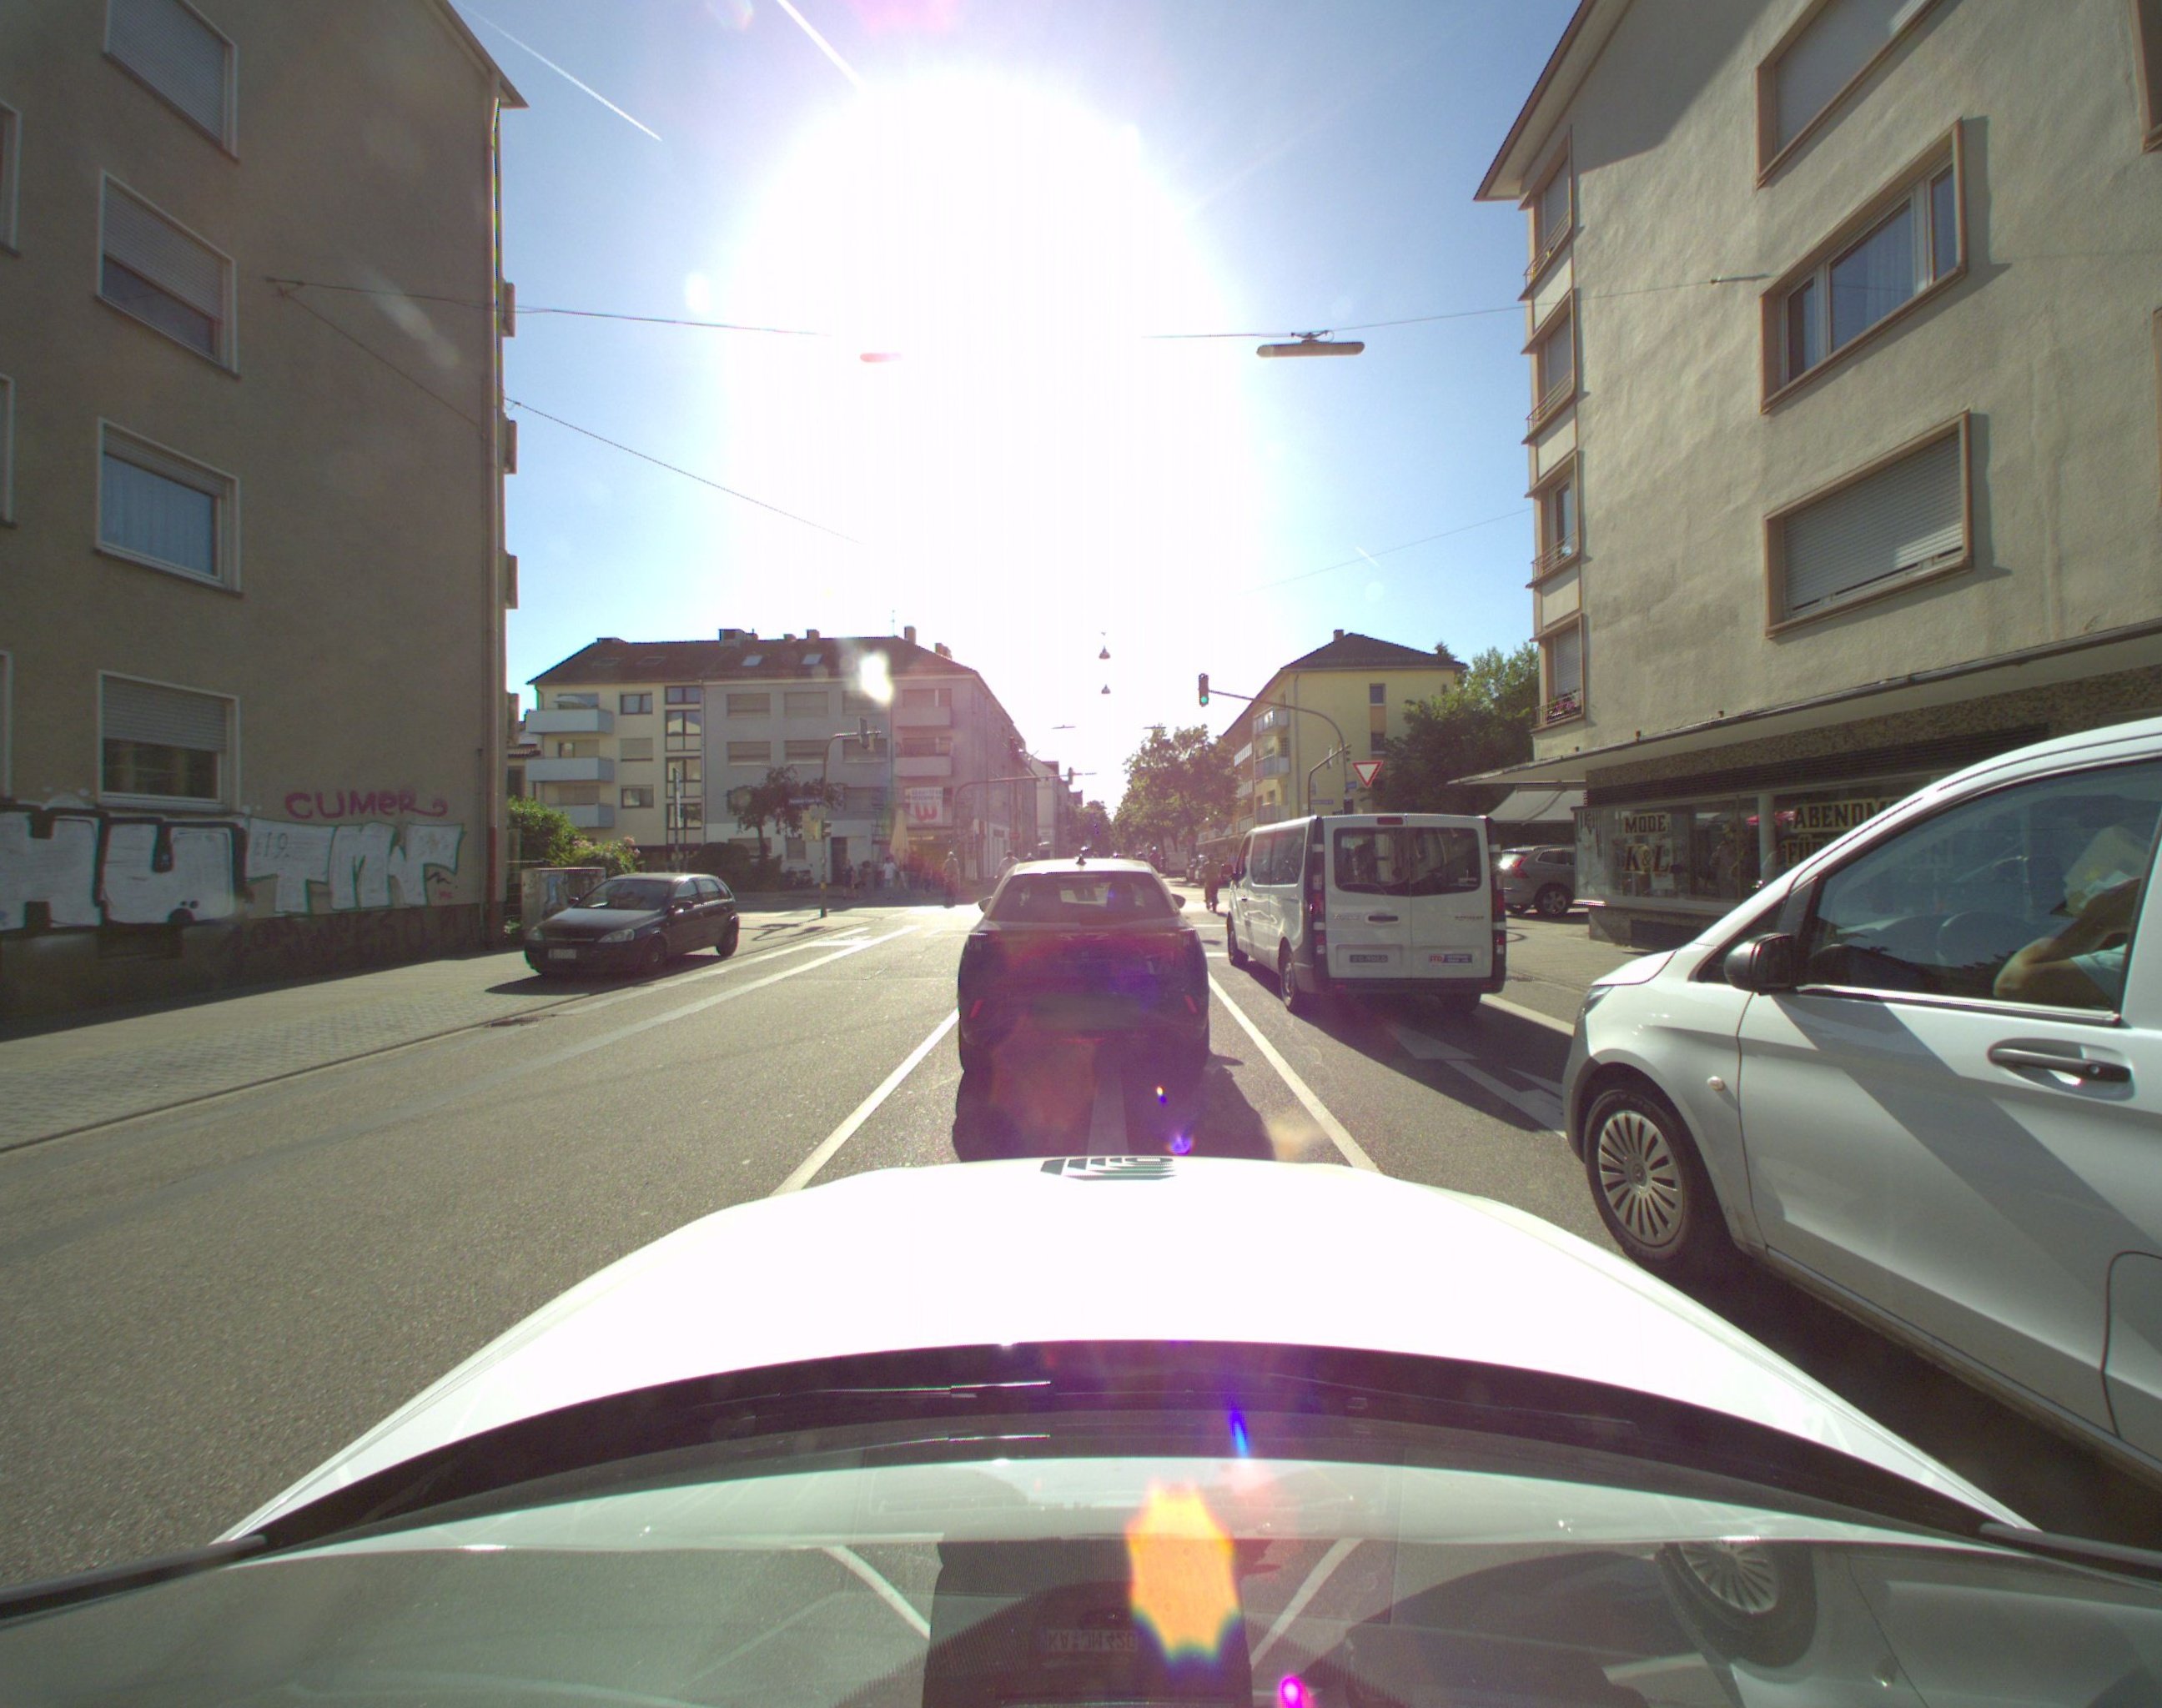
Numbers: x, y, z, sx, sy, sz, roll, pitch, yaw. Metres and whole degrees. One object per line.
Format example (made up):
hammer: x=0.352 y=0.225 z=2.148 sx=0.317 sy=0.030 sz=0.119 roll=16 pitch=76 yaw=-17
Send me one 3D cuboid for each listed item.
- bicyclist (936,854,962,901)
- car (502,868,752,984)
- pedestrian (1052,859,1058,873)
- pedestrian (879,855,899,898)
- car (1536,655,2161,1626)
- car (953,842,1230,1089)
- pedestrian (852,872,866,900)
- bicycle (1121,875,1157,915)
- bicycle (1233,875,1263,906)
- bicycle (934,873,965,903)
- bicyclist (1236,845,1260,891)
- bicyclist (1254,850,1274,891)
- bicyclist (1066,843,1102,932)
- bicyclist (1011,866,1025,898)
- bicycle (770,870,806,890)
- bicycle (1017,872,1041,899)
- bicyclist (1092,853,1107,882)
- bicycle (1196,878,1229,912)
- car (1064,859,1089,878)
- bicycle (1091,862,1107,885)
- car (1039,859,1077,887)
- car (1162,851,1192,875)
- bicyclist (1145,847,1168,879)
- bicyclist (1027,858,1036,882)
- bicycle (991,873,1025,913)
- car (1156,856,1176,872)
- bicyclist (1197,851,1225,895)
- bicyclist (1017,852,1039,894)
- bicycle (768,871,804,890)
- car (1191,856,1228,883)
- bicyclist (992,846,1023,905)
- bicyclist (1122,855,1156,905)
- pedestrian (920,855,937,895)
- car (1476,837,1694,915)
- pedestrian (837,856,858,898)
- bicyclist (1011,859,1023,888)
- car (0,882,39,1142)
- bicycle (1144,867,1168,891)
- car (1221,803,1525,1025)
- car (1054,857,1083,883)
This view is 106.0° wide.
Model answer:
bicyclist: x=-4.662 y=0.816 z=28.838 sx=0.677 sy=1.630 sz=0.899 roll=-3 pitch=-1 yaw=2
car: x=-6.819 y=0.993 z=12.774 sx=1.685 sy=1.448 sz=3.856 roll=1 pitch=0 yaw=1
pedestrian: x=-3.039 y=1.356 z=94.954 sx=0.575 sy=1.583 sz=0.707 roll=-1 pitch=-1 yaw=-3
pedestrian: x=-7.673 y=0.908 z=32.598 sx=0.570 sy=1.689 sz=0.670 roll=-1 pitch=-1 yaw=5
car: x=2.981 y=0.517 z=1.186 sx=1.961 sy=1.810 sz=4.833 roll=-1 pitch=-1 yaw=1
car: x=0.129 y=0.737 z=7.242 sx=1.756 sy=1.558 sz=4.001 roll=-1 pitch=-1 yaw=2
pedestrian: x=-9.032 y=1.294 z=33.144 sx=0.384 sy=1.146 sz=0.532 roll=-1 pitch=0 yaw=0
bicycle: x=1.556 y=1.090 z=22.163 sx=0.853 sy=0.945 sz=2.308 roll=1 pitch=0 yaw=2
bicycle: x=5.177 y=1.123 z=25.302 sx=0.617 sy=0.866 sz=1.878 roll=-1 pitch=0 yaw=3
bicycle: x=-4.639 y=1.177 z=28.912 sx=0.677 sy=0.952 sz=1.934 roll=-3 pitch=0 yaw=2
bicyclist: x=5.145 y=0.421 z=25.091 sx=0.586 sy=1.382 sz=0.823 roll=-1 pitch=0 yaw=3
bicyclist: x=6.385 y=0.563 z=28.469 sx=0.544 sy=1.382 sz=0.823 roll=-1 pitch=0 yaw=3
bicyclist: x=0.077 y=0.633 z=15.923 sx=0.630 sy=1.669 sz=1.051 roll=-2 pitch=0 yaw=2
bicyclist: x=-2.869 y=1.259 z=36.989 sx=0.541 sy=1.391 sz=0.788 roll=-1 pitch=0 yaw=-2
bicycle: x=-14.852 y=1.328 z=41.302 sx=1.582 sy=0.940 sz=0.513 roll=-1 pitch=0 yaw=3
bicycle: x=-1.998 y=1.186 z=31.431 sx=0.677 sy=0.952 sz=1.934 roll=-3 pitch=0 yaw=2
bicyclist: x=1.062 y=0.769 z=47.614 sx=0.798 sy=1.649 sz=1.126 roll=-1 pitch=0 yaw=3
bicycle: x=3.666 y=1.125 z=22.807 sx=0.688 sy=0.866 sz=1.878 roll=-1 pitch=0 yaw=3
car: x=-0.349 y=1.114 z=65.048 sx=1.799 sy=1.413 sz=4.425 roll=-3 pitch=0 yaw=0
bicycle: x=1.059 y=1.121 z=47.567 sx=0.798 sy=1.255 sz=2.140 roll=-1 pitch=0 yaw=3
car: x=-1.250 y=1.041 z=45.484 sx=1.830 sy=1.433 sz=4.178 roll=-1 pitch=0 yaw=2
car: x=7.688 y=0.687 z=65.539 sx=2.037 sy=1.846 sz=4.588 roll=-1 pitch=0 yaw=3
bicyclist: x=3.152 y=0.383 z=34.175 sx=0.853 sy=1.314 sz=1.211 roll=1 pitch=0 yaw=2
bicyclist: x=-3.179 y=1.043 z=52.332 sx=0.552 sy=1.549 sz=0.814 roll=0 pitch=-1 yaw=-2
bicycle: x=-2.070 y=1.093 z=23.288 sx=0.714 sy=1.064 sz=1.873 roll=-2 pitch=-1 yaw=2
car: x=8.079 y=0.934 z=77.798 sx=1.706 sy=1.483 sz=3.383 roll=-1 pitch=0 yaw=2
bicyclist: x=3.662 y=0.533 z=22.942 sx=0.689 sy=1.193 sz=0.595 roll=-1 pitch=0 yaw=3
bicyclist: x=-2.027 y=0.716 z=31.332 sx=0.677 sy=1.576 sz=0.899 roll=-3 pitch=0 yaw=2
bicycle: x=-14.753 y=1.321 z=40.734 sx=1.582 sy=0.940 sz=0.513 roll=-1 pitch=0 yaw=3
car: x=7.378 y=0.868 z=46.905 sx=1.706 sy=1.483 sz=3.482 roll=-1 pitch=0 yaw=2
bicyclist: x=-2.088 y=0.596 z=23.223 sx=0.714 sy=1.620 sz=0.946 roll=-2 pitch=-1 yaw=2
bicyclist: x=1.562 y=0.681 z=22.208 sx=0.853 sy=1.314 sz=1.211 roll=1 pitch=0 yaw=2
pedestrian: x=-6.059 y=0.827 z=32.351 sx=0.530 sy=1.581 sz=0.562 roll=-1 pitch=-1 yaw=-2
car: x=11.745 y=0.502 z=19.183 sx=3.972 sy=1.662 sz=1.826 roll=-1 pitch=0 yaw=2
pedestrian: x=-9.541 y=0.942 z=33.261 sx=0.571 sy=1.683 sz=0.968 roll=-1 pitch=0 yaw=-1
bicyclist: x=-3.408 y=1.035 z=43.379 sx=0.540 sy=1.520 sz=0.774 roll=-1 pitch=0 yaw=2
car: x=-7.210 y=0.899 z=2.480 sx=1.817 sy=1.503 sz=4.802 roll=1 pitch=0 yaw=1
bicycle: x=3.138 y=1.031 z=34.099 sx=0.853 sy=0.945 sz=2.308 roll=1 pitch=0 yaw=2
car: x=3.004 y=0.550 z=9.702 sx=1.961 sy=1.940 sz=5.057 roll=0 pitch=-1 yaw=2
car: x=-0.781 y=1.033 z=53.470 sx=1.586 sy=1.566 sz=4.091 roll=-2 pitch=-1 yaw=2
